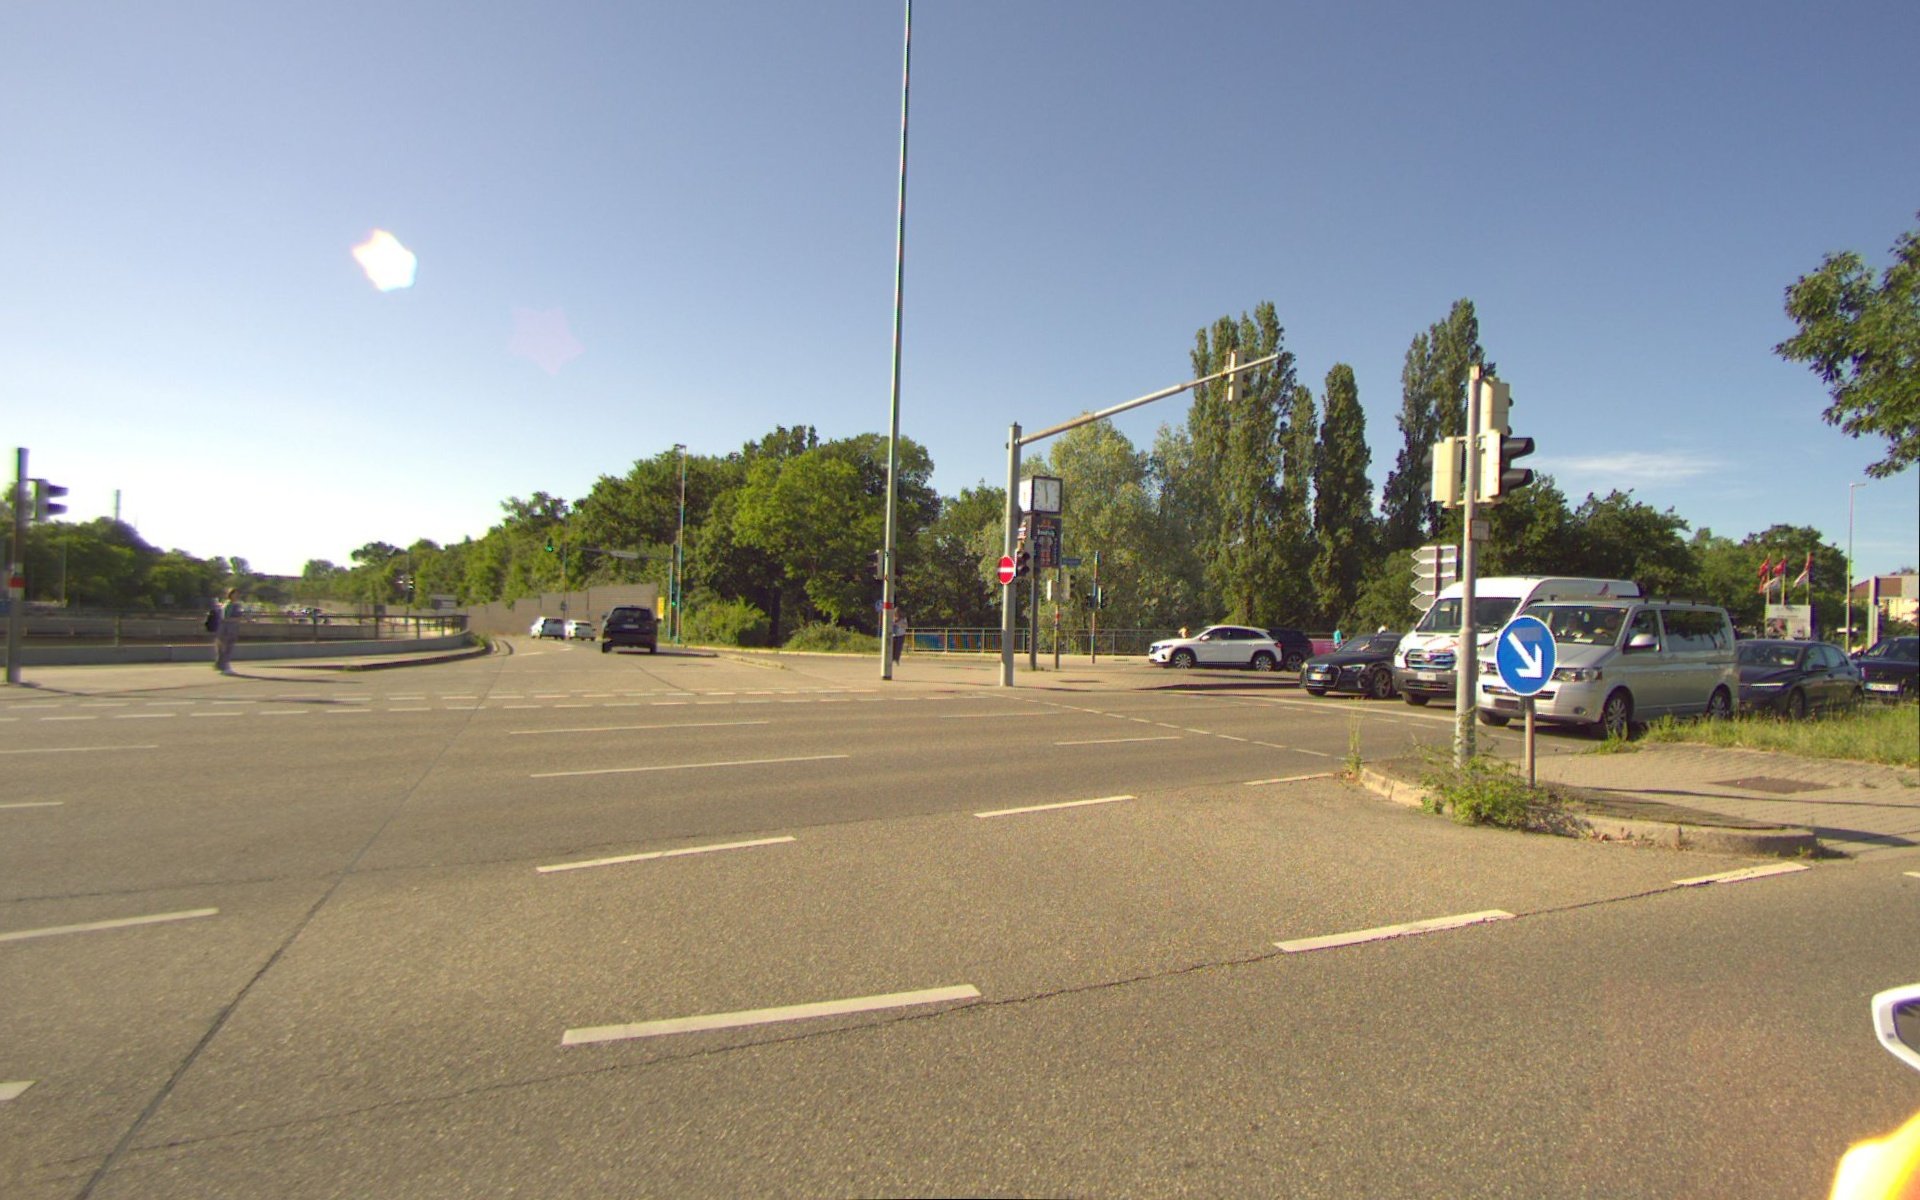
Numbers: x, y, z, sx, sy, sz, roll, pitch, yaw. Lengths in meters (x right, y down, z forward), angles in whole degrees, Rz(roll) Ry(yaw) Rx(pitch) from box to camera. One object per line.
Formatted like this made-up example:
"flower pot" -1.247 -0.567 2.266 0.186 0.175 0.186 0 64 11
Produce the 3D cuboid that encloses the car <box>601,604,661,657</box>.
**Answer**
"car" -11.648 1.042 35.659 1.850 1.731 4.180 2 -1 -18

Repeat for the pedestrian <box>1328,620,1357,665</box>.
"pedestrian" 17.147 1.886 45.025 0.778 1.942 0.833 4 -1 -27

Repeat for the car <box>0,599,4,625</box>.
"car" -77.903 0.963 79.770 1.978 2.040 3.966 5 -1 -31

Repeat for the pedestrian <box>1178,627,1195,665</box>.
"pedestrian" 9.367 1.895 41.511 0.547 1.567 0.576 1 -2 22

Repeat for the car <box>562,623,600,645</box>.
"car" -27.394 2.421 72.501 1.766 1.433 4.282 2 -1 -31

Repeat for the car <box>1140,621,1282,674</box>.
"car" 8.367 1.589 33.697 4.245 1.556 1.784 2 0 -3

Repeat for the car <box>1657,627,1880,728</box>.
"car" 15.219 1.403 18.855 4.456 1.644 1.926 2 -1 -32

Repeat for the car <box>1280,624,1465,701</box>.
"car" 9.042 1.334 21.919 3.960 1.527 1.924 2 -2 -35

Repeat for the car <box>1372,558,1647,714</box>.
"car" 10.641 0.706 19.254 6.022 2.610 1.926 2 -1 -32

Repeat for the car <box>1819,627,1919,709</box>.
"car" 21.241 1.492 22.332 4.454 1.644 1.927 2 -1 -31

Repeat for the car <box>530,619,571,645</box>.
"car" -26.926 2.072 66.037 1.977 1.528 3.968 2 -1 -30

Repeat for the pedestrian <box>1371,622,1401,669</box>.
"pedestrian" 18.815 2.000 44.376 0.778 2.023 0.803 4 -1 -27

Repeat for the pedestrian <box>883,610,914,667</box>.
"pedestrian" -1.726 1.075 28.153 0.699 1.568 0.727 2 0 -14

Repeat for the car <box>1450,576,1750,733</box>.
"car" 9.746 0.788 15.178 4.877 2.034 1.926 2 -1 -32

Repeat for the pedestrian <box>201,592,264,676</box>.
"pedestrian" -13.328 0.610 18.403 0.669 1.482 0.701 1 -1 32
